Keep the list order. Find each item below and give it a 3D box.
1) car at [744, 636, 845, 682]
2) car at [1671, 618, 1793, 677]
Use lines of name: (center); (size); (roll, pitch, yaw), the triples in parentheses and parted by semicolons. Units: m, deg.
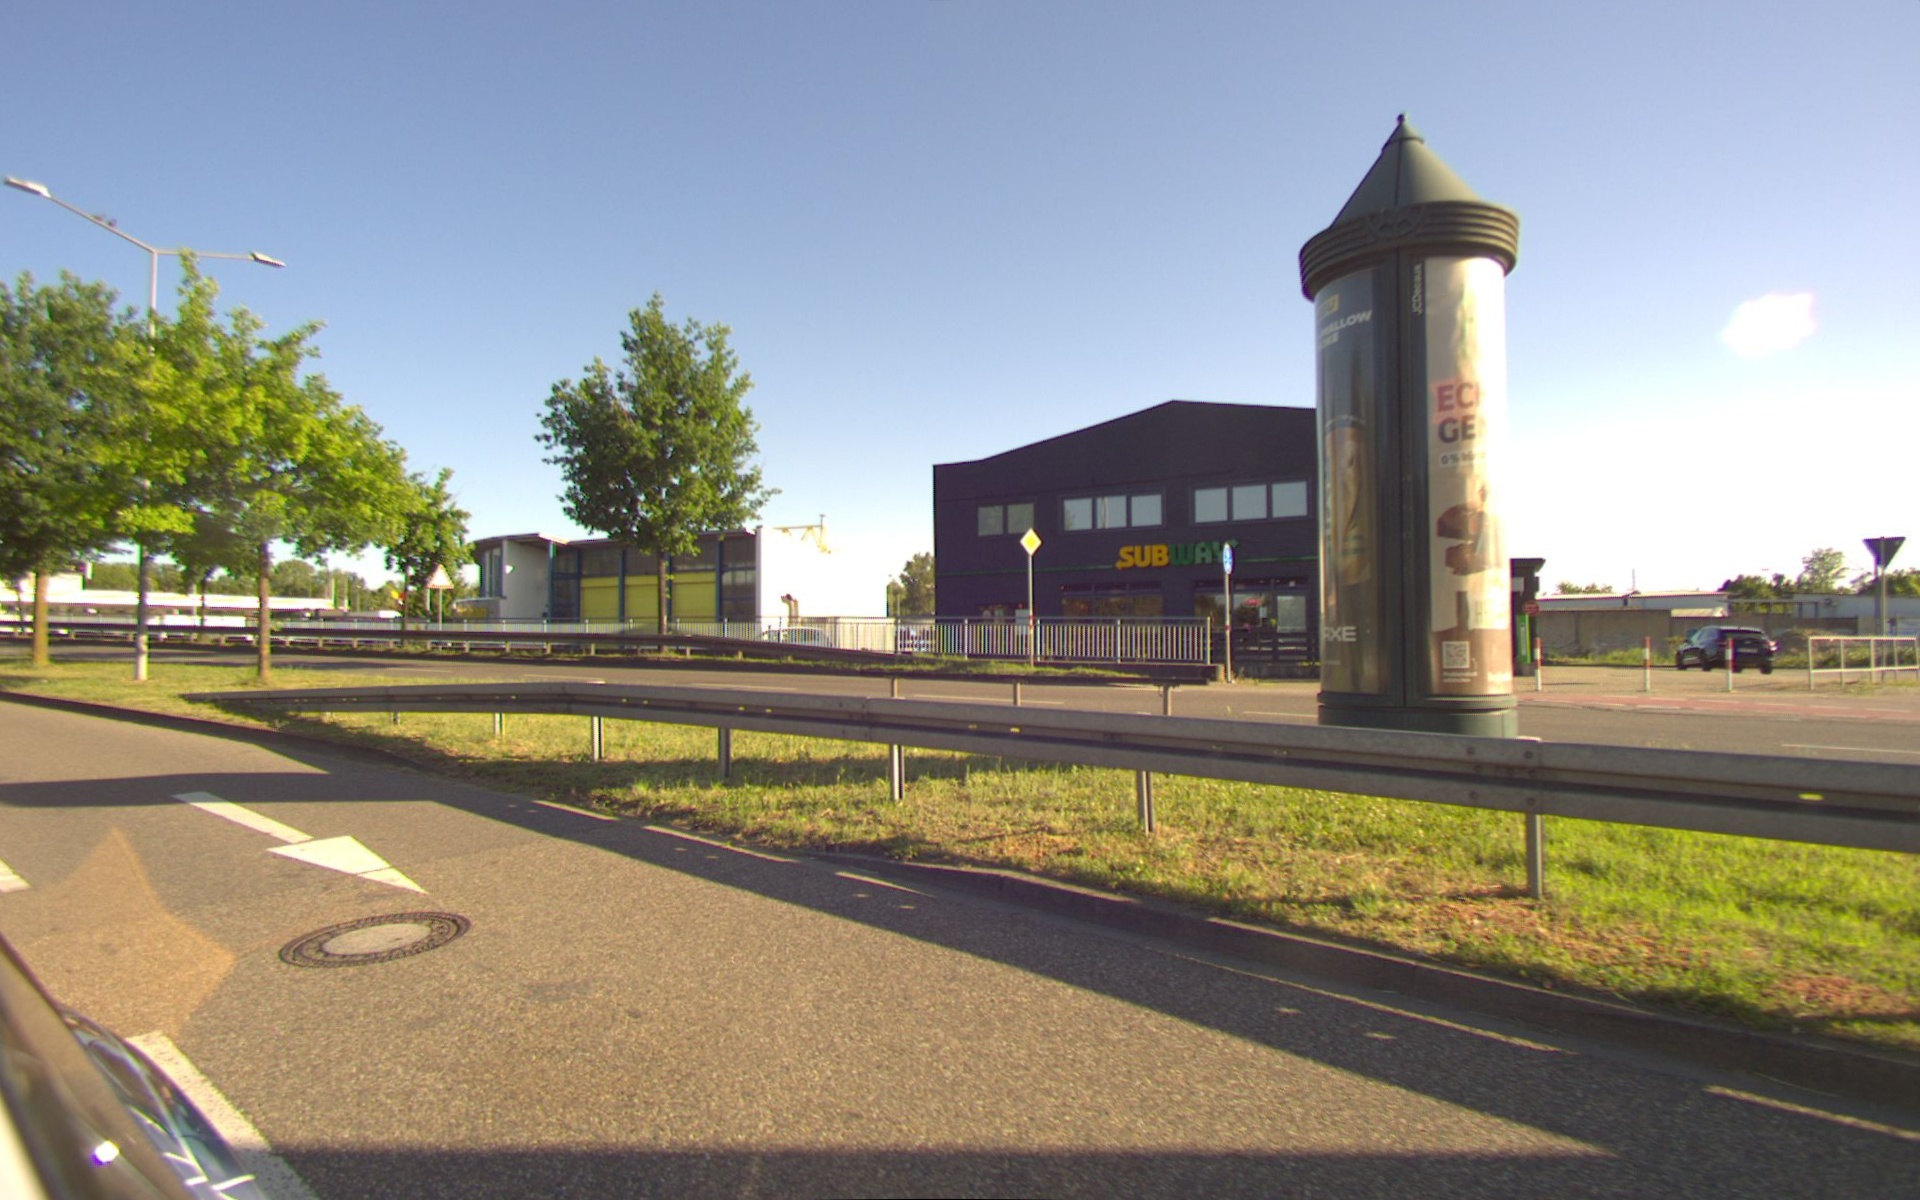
car: (-6.258, 2.194, 38.225); (3.427, 1.579, 1.618); (0, -1, -28)
car: (24.641, 1.560, 32.483); (1.939, 1.728, 4.080); (0, -4, 20)
